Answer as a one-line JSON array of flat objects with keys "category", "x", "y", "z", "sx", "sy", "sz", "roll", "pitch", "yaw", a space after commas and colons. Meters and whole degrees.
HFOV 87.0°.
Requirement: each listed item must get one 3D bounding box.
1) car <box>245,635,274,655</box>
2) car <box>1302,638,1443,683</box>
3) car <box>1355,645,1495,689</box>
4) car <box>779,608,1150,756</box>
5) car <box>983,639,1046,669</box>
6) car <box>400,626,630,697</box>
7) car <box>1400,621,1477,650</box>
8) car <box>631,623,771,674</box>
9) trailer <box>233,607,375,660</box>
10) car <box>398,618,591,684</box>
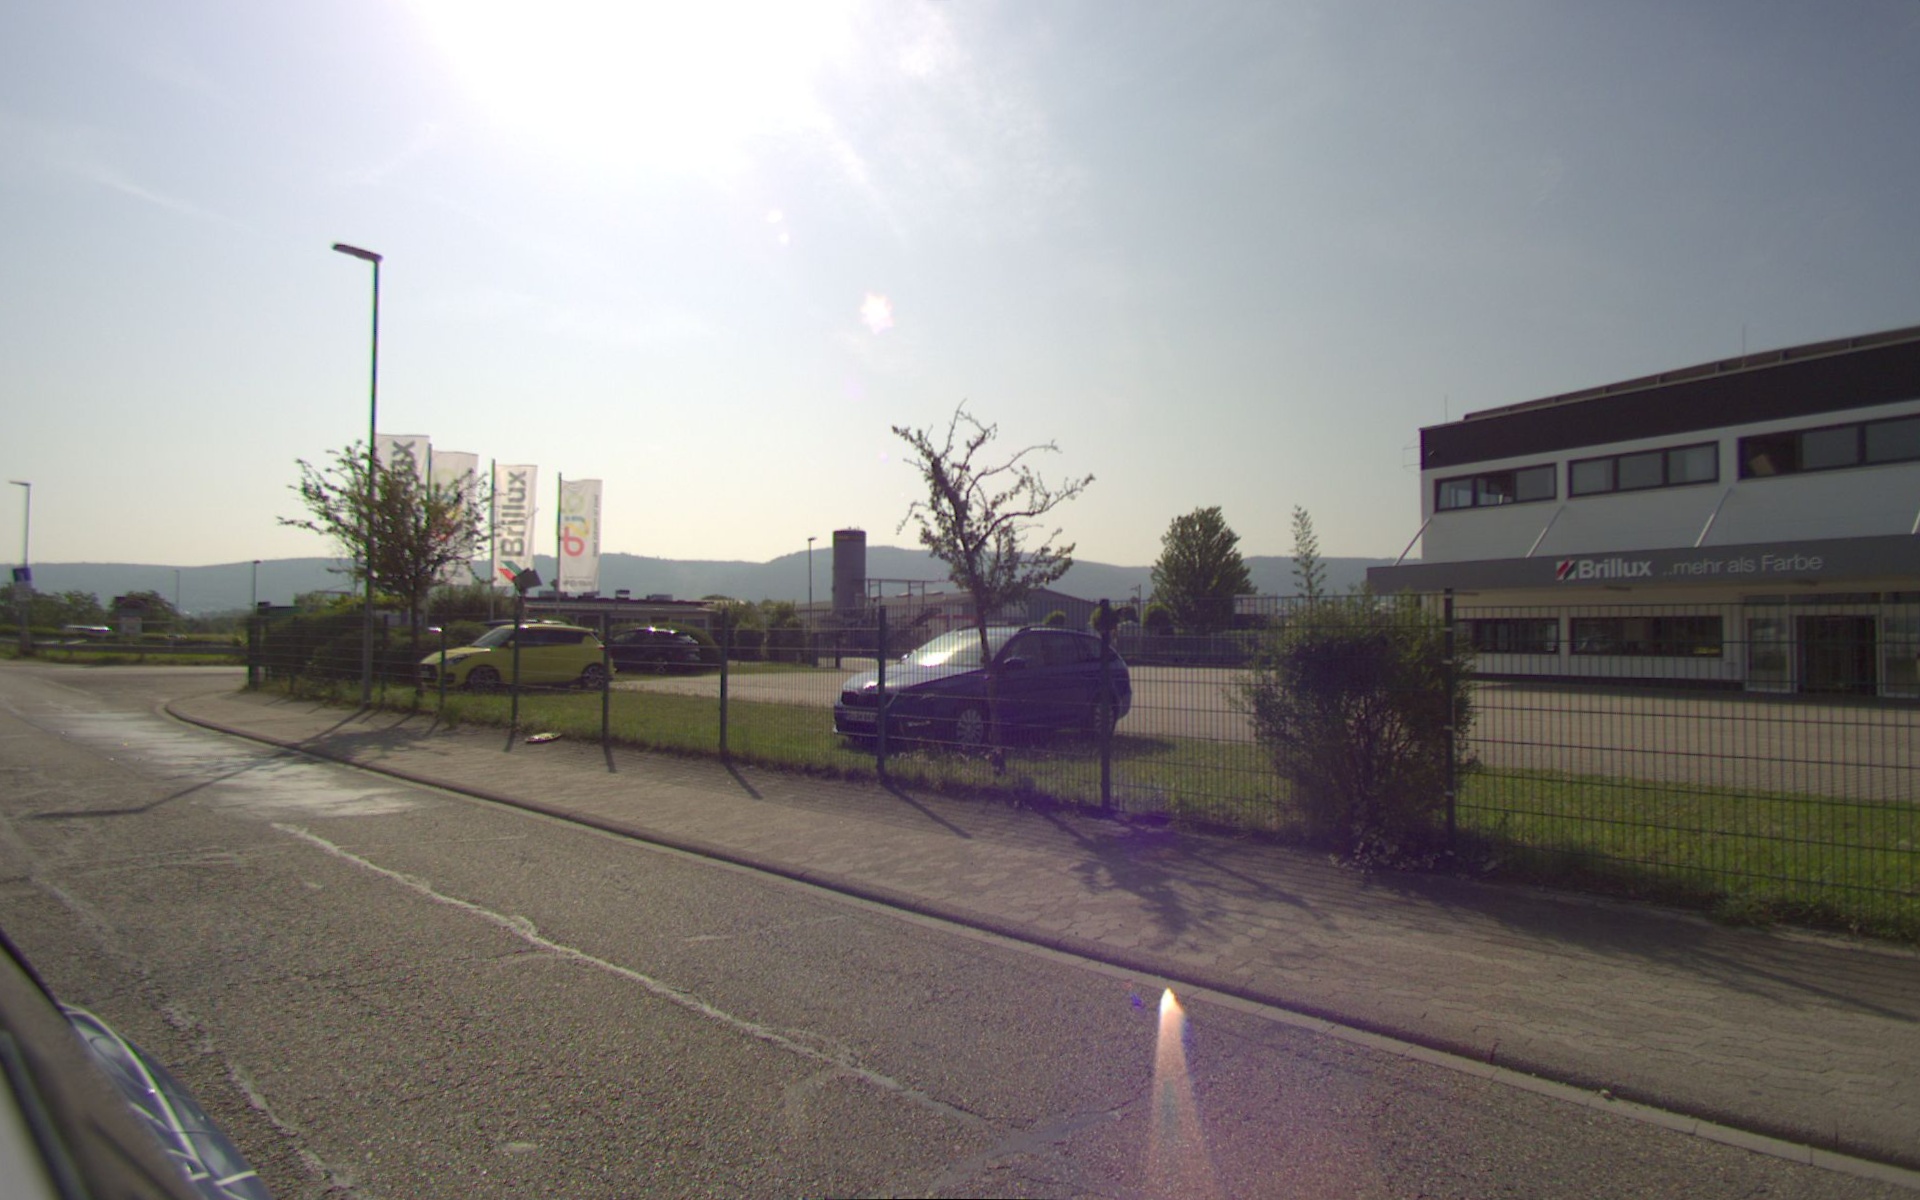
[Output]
[{"category": "car", "x": -74.621, "y": 4.793, "z": 107.807, "sx": 1.969, "sy": 2.029, "sz": 4.163, "roll": 4, "pitch": -4, "yaw": -41}, {"category": "car", "x": 16.937, "y": 2.480, "z": 41.712, "sx": 5.055, "sy": 1.715, "sz": 1.974, "roll": -1, "pitch": -4, "yaw": 38}, {"category": "car", "x": 19.693, "y": 2.813, "z": 42.991, "sx": 5.058, "sy": 1.715, "sz": 1.973, "roll": -1, "pitch": -4, "yaw": 41}, {"category": "car", "x": 0.266, "y": 0.975, "z": 12.456, "sx": 2.076, "sy": 1.455, "sz": 4.638, "roll": -2, "pitch": -5, "yaw": 40}, {"category": "car", "x": 3.336, "y": 3.322, "z": 62.271, "sx": 1.826, "sy": 1.763, "sz": 4.010, "roll": 2, "pitch": -3, "yaw": -34}, {"category": "car", "x": -9.498, "y": 1.300, "z": 21.838, "sx": 1.868, "sy": 1.379, "sz": 4.120, "roll": -2, "pitch": -3, "yaw": 41}, {"category": "car", "x": 29.621, "y": 2.184, "z": 62.734, "sx": 3.998, "sy": 1.719, "sz": 1.767, "roll": -2, "pitch": -3, "yaw": 41}, {"category": "car", "x": -9.482, "y": 1.772, "z": 37.078, "sx": 4.584, "sy": 1.765, "sz": 2.158, "roll": 2, "pitch": -3, "yaw": -28}, {"category": "trailer", "x": -35.756, "y": 1.876, "z": 55.267, "sx": 6.222, "sy": 2.625, "sz": 2.861, "roll": 4, "pitch": -4, "yaw": -35}, {"category": "car", "x": -12.655, "y": 1.373, "z": 27.685, "sx": 4.455, "sy": 1.708, "sz": 1.955, "roll": 0, "pitch": 0, "yaw": 5}]
